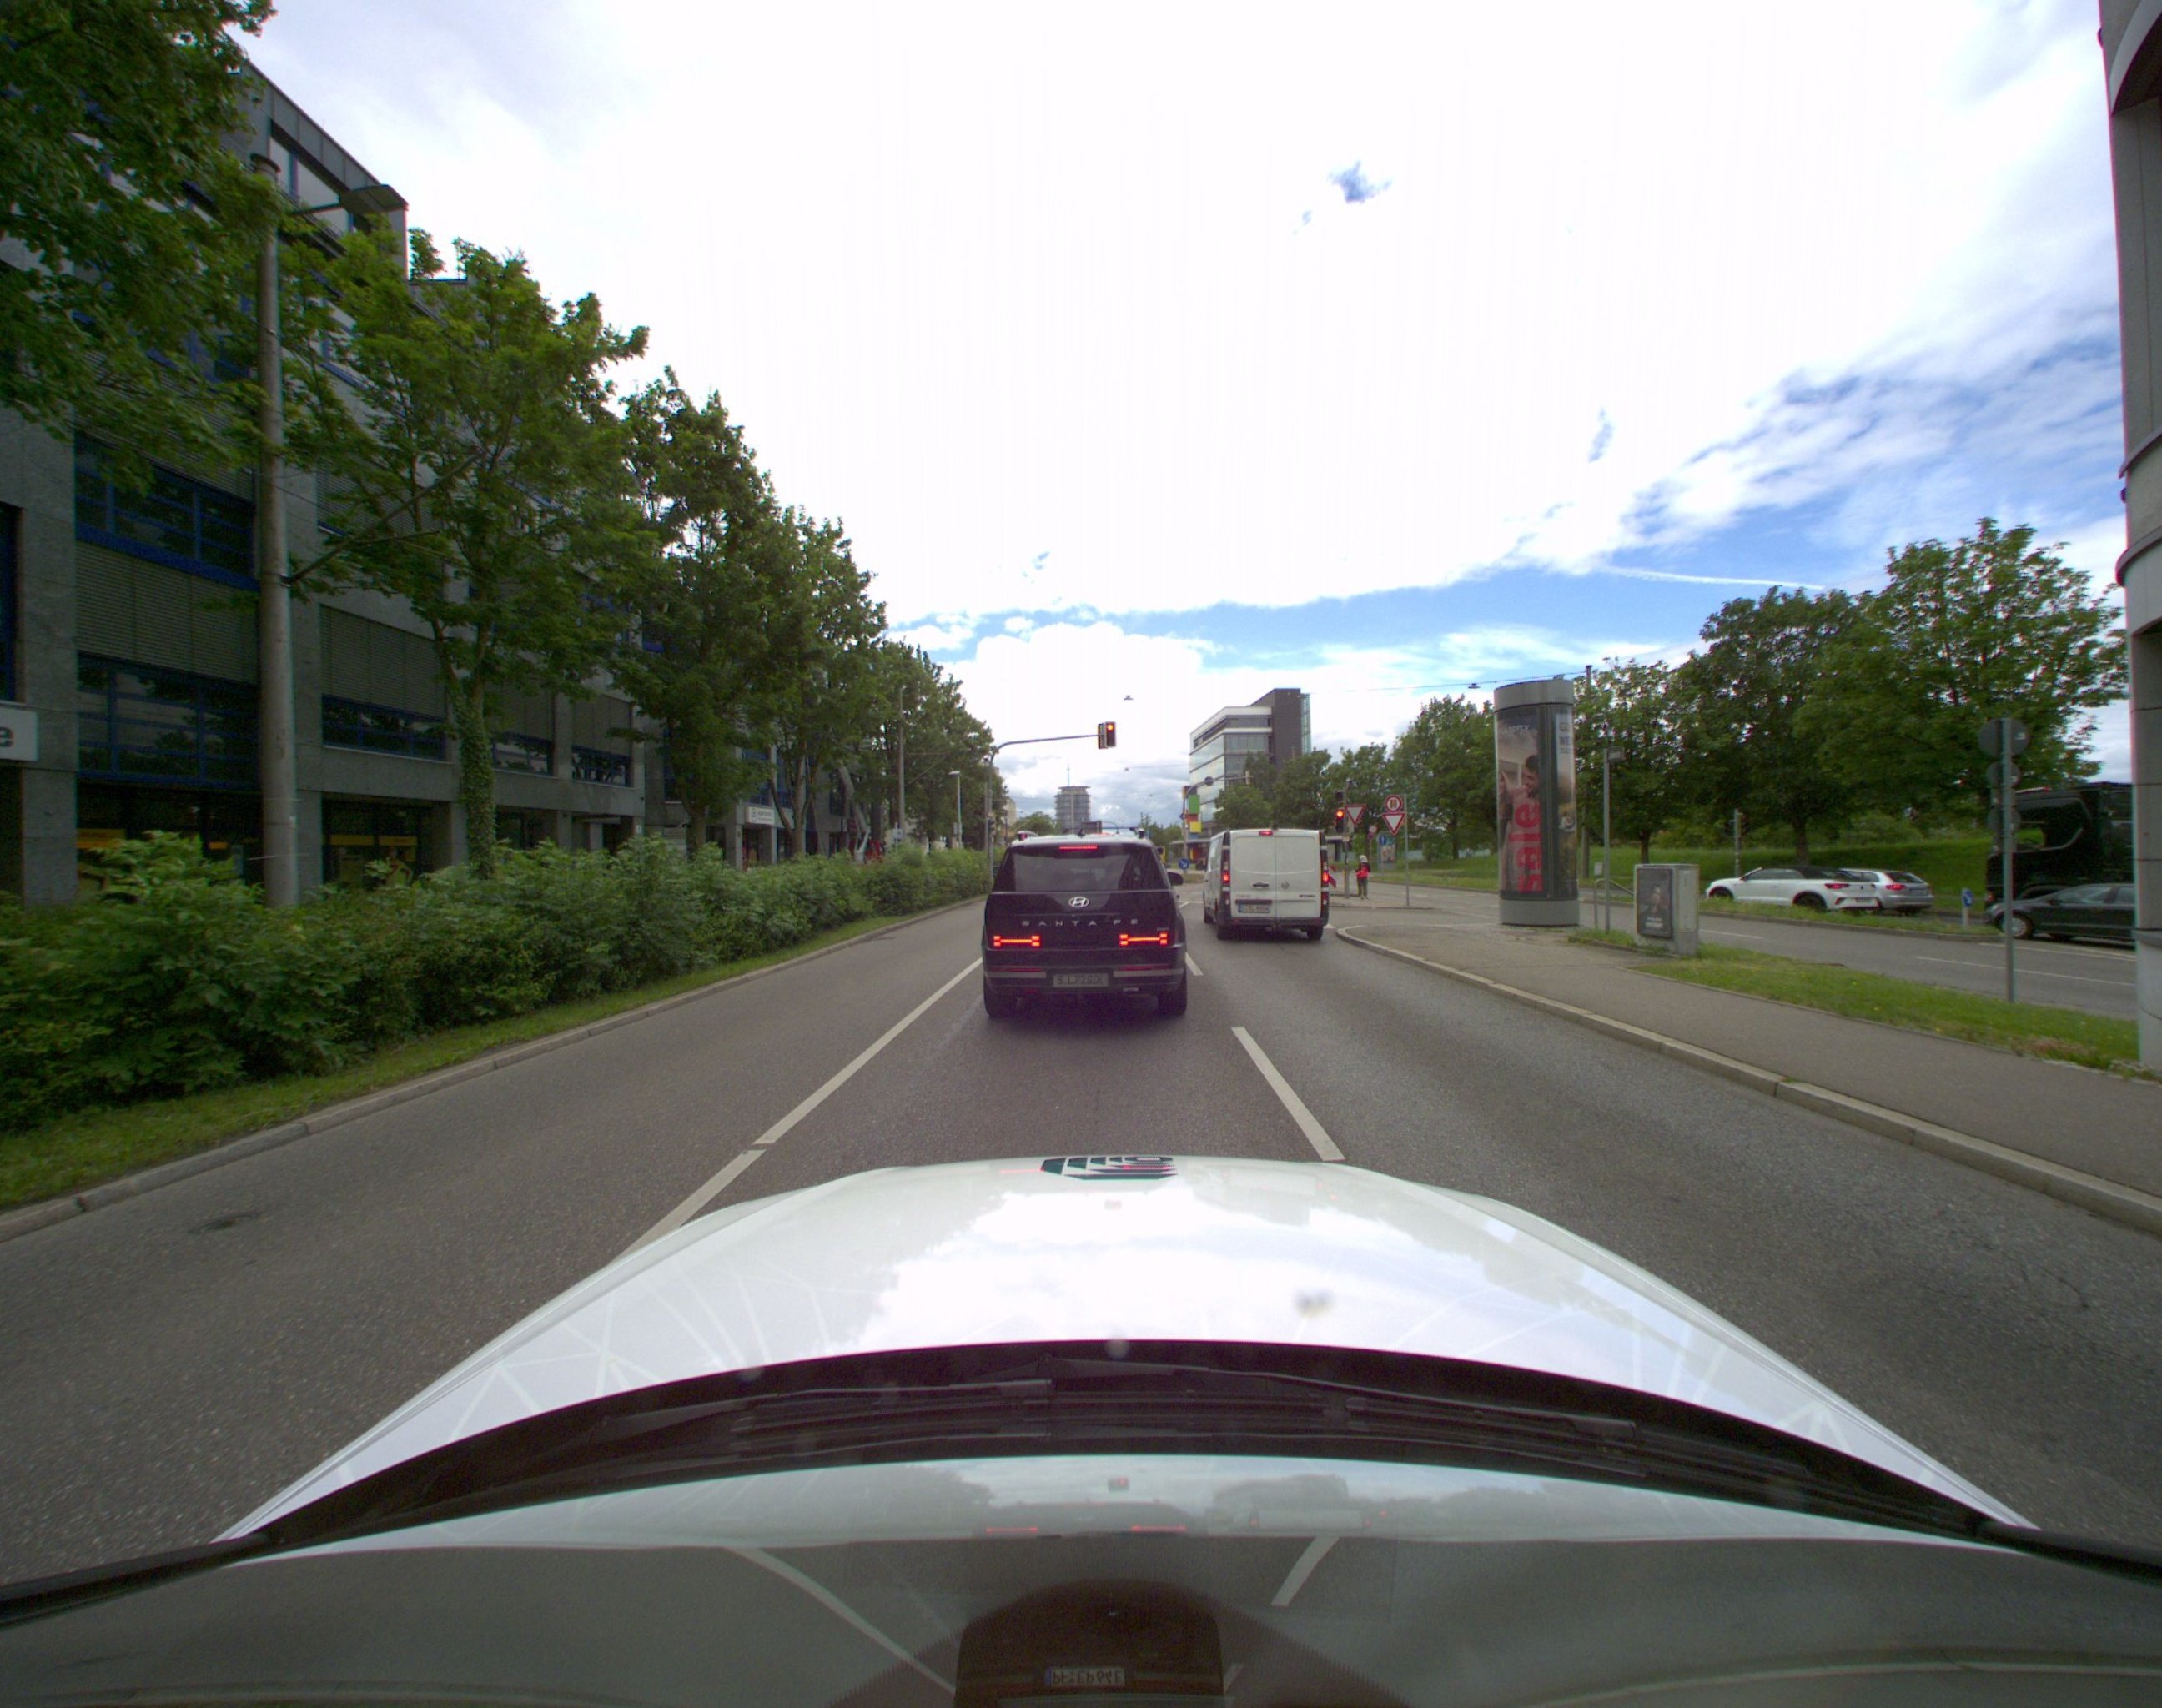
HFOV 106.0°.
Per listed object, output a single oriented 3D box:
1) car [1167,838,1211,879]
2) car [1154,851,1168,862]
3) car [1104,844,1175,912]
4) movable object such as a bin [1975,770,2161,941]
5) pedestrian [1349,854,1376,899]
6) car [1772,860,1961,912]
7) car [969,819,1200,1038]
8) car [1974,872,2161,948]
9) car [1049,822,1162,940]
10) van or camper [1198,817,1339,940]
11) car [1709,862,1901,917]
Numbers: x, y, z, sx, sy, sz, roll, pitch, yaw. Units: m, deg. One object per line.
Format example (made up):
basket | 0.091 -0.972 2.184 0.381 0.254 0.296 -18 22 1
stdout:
car | 5.617 0.251 42.879 1.985 2.014 4.003 -1 -1 3
car | 13.188 0.462 134.234 1.987 1.684 3.998 -1 -1 -1
car | 1.624 0.629 22.917 1.768 1.717 4.342 -1 -1 3
movable object such as a bin | 26.335 0.004 18.035 2.860 3.903 8.536 -1 -1 -11
pedestrian | 10.031 0.784 29.001 0.744 1.584 0.567 1 0 -38
car | 25.171 0.988 26.303 1.994 1.453 3.985 1 0 -11
car | 0.091 0.616 8.638 1.862 1.760 3.881 -1 0 2
car | 23.081 1.213 18.052 1.994 1.453 3.985 1 0 -11
car | 0.485 0.471 16.129 1.908 2.003 3.881 -1 0 2
van or camper | 3.437 0.410 15.856 1.984 2.013 4.658 -1 0 4
car | 21.839 1.009 24.803 1.994 1.453 3.985 1 0 -11
